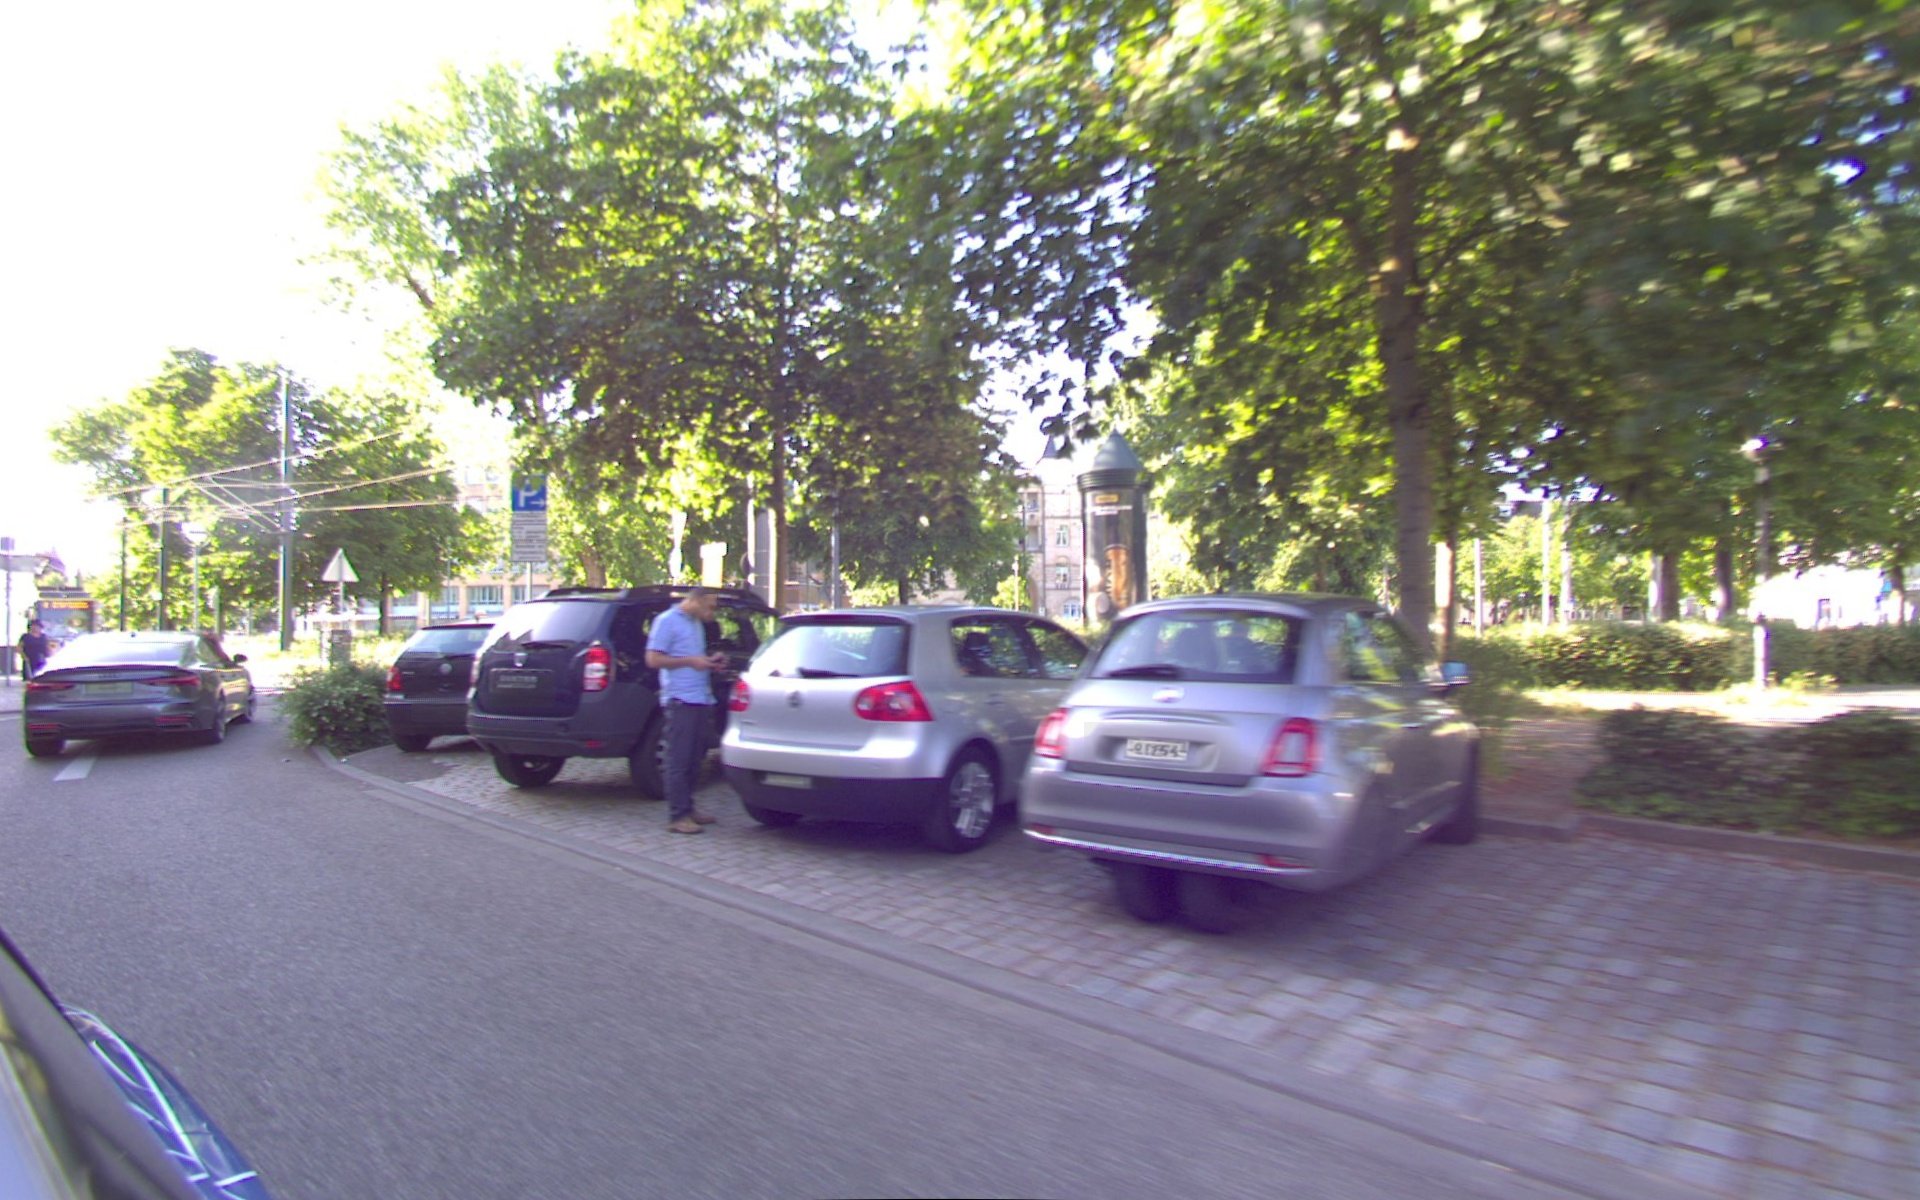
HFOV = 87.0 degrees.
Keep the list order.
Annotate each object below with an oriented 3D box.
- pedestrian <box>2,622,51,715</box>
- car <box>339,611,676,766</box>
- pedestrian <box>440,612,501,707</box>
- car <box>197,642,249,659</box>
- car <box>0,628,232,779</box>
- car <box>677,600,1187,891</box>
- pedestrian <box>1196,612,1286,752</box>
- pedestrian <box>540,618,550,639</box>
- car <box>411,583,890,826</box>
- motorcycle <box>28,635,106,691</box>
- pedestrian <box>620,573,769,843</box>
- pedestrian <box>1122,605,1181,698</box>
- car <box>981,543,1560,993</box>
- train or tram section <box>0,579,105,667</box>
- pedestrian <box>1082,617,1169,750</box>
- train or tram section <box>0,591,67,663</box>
[{"bbox_3d":[-17.535,1.259,19.004,0.693,1.685,0.629,-1,0,44],"label":"pedestrian"},{"bbox_3d":[-5.111,0.908,12.113,1.853,1.481,3.990,-1,0,8],"label":"car"},{"bbox_3d":[-9.038,1.080,18.706,0.794,1.712,0.670,-1,0,2],"label":"pedestrian"},{"bbox_3d":[-82.429,5.623,113.184,5.042,1.747,2.095,-2,-2,17],"label":"car"},{"bbox_3d":[-10.564,1.139,12.947,1.886,1.427,4.823,-1,0,-34],"label":"car"},{"bbox_3d":[0.090,0.764,7.384,1.798,1.459,3.955,-1,0,33],"label":"car"},{"bbox_3d":[2.700,0.762,9.711,0.698,1.269,0.640,-1,0,28],"label":"pedestrian"},{"bbox_3d":[-31.866,2.177,77.629,0.546,1.628,0.676,-1,0,-9],"label":"pedestrian"},{"bbox_3d":[-2.517,0.738,9.241,1.990,1.680,3.964,-2,0,27],"label":"car"},{"bbox_3d":[-22.732,1.587,25.757,1.747,1.384,0.743,-1,0,20],"label":"motorcycle"},{"bbox_3d":[-1.753,0.666,6.703,0.645,1.662,0.693,-1,0,36],"label":"pedestrian"},{"bbox_3d":[3.289,0.863,17.336,0.949,1.533,0.767,-1,0,12],"label":"pedestrian"},{"bbox_3d":[2.028,0.589,5.712,1.748,1.610,3.947,-1,0,39],"label":"car"},{"bbox_3d":[-43.485,1.169,47.995,13.183,3.713,2.917,-3,-2,43],"label":"train or tram section"},{"bbox_3d":[1.697,0.823,10.351,0.698,1.283,0.640,-1,0,28],"label":"pedestrian"},{"bbox_3d":[-53.052,1.588,56.914,13.634,3.640,2.917,-3,-2,43],"label":"train or tram section"}]
